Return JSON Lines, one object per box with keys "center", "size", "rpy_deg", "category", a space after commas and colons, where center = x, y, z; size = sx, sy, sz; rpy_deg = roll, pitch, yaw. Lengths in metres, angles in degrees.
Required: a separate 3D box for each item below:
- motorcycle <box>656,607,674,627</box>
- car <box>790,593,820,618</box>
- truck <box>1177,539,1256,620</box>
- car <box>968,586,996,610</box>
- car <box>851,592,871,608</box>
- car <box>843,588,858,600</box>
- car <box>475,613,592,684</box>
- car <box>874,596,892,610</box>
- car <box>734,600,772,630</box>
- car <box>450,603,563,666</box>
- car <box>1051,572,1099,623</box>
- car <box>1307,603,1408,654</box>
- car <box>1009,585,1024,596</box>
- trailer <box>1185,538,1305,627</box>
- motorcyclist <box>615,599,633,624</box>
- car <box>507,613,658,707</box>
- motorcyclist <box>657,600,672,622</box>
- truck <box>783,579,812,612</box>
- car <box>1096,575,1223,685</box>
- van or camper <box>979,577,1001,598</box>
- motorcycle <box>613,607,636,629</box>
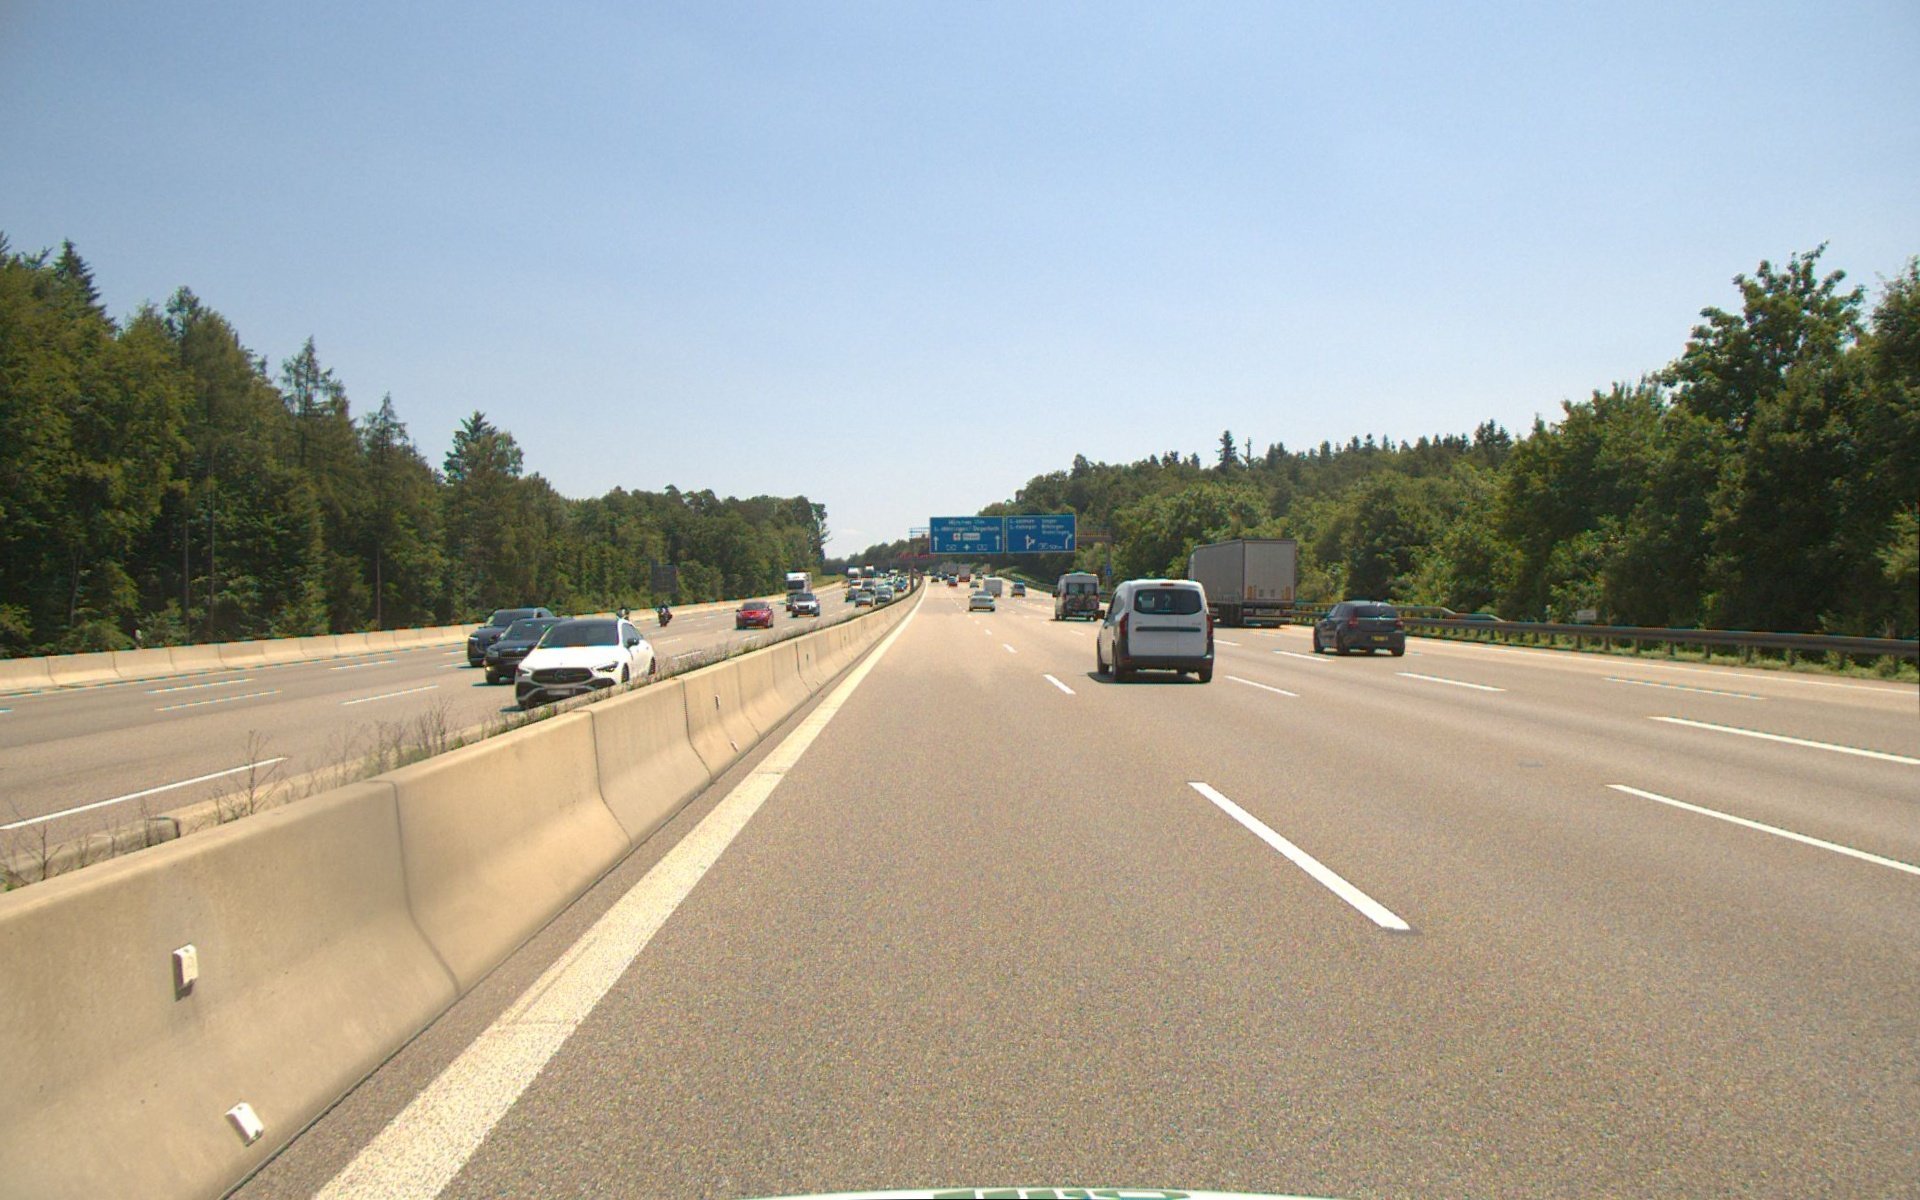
{"center": [-18.697, 1.045, 104.752], "size": [0.723, 1.235, 2.349], "rpy_deg": [-2, 0, -1], "category": "motorcycle"}
{"center": [-11.337, 0.383, 121.229], "size": [1.931, 1.754, 4.507], "rpy_deg": [1, 0, -2], "category": "car"}
{"center": [13.803, -1.131, 89.390], "size": [3.188, 4.178, 5.987], "rpy_deg": [1, 1, -1], "category": "truck"}
{"center": [1.584, -0.145, 120.495], "size": [1.806, 1.657, 4.552], "rpy_deg": [-2, 0, -1], "category": "car"}
{"center": [-9.732, 0.001, 162.664], "size": [1.682, 1.538, 4.350], "rpy_deg": [-2, 0, -1], "category": "car"}
{"center": [-13.728, -0.759, 206.707], "size": [1.683, 1.475, 4.907], "rpy_deg": [0, 1, -2], "category": "car"}
{"center": [-9.867, 1.079, 38.586], "size": [1.668, 1.452, 4.611], "rpy_deg": [-2, 0, -2], "category": "car"}
{"center": [-8.212, 0.293, 176.256], "size": [1.717, 1.401, 4.490], "rpy_deg": [1, 0, -1], "category": "car"}
{"center": [-11.187, 0.791, 89.659], "size": [1.540, 1.538, 4.029], "rpy_deg": [-2, 0, -1], "category": "car"}
{"center": [-13.730, 1.007, 50.380], "size": [2.005, 1.703, 5.187], "rpy_deg": [-2, 0, -1], "category": "car"}
{"center": [6.289, -0.144, 91.152], "size": [2.100, 2.698, 5.708], "rpy_deg": [-1, 0, -1], "category": "car"}
{"center": [10.599, 0.760, 44.385], "size": [1.636, 1.296, 4.289], "rpy_deg": [0, -1, -1], "category": "car"}
{"center": [7.553, -1.264, 220.118], "size": [1.798, 1.361, 3.642], "rpy_deg": [-2, 0, -1], "category": "car"}
{"center": [14.002, -0.915, 82.591], "size": [3.221, 3.999, 13.887], "rpy_deg": [1, 1, -1], "category": "trailer"}
{"center": [-18.769, 0.639, 92.471], "size": [0.753, 1.324, 1.077], "rpy_deg": [-2, 0, -1], "category": "motorcyclist"}
{"center": [-6.533, 0.987, 29.070], "size": [1.788, 1.419, 4.462], "rpy_deg": [-1, 0, -3], "category": "car"}
{"center": [-18.703, 0.708, 104.659], "size": [0.745, 1.324, 1.077], "rpy_deg": [-2, 0, -1], "category": "motorcyclist"}
{"center": [-20.320, -0.546, 207.645], "size": [2.664, 4.008, 10.234], "rpy_deg": [-1, 0, -1], "category": "truck"}
{"center": [3.663, 0.518, 31.141], "size": [1.821, 1.857, 4.612], "rpy_deg": [-2, 0, 0], "category": "car"}
{"center": [3.835, -1.634, 215.678], "size": [2.591, 2.583, 6.501], "rpy_deg": [-1, 0, -1], "category": "van or camper"}
{"center": [-18.756, 0.977, 92.483], "size": [0.762, 1.161, 2.755], "rpy_deg": [-2, 0, -1], "category": "motorcycle"}
